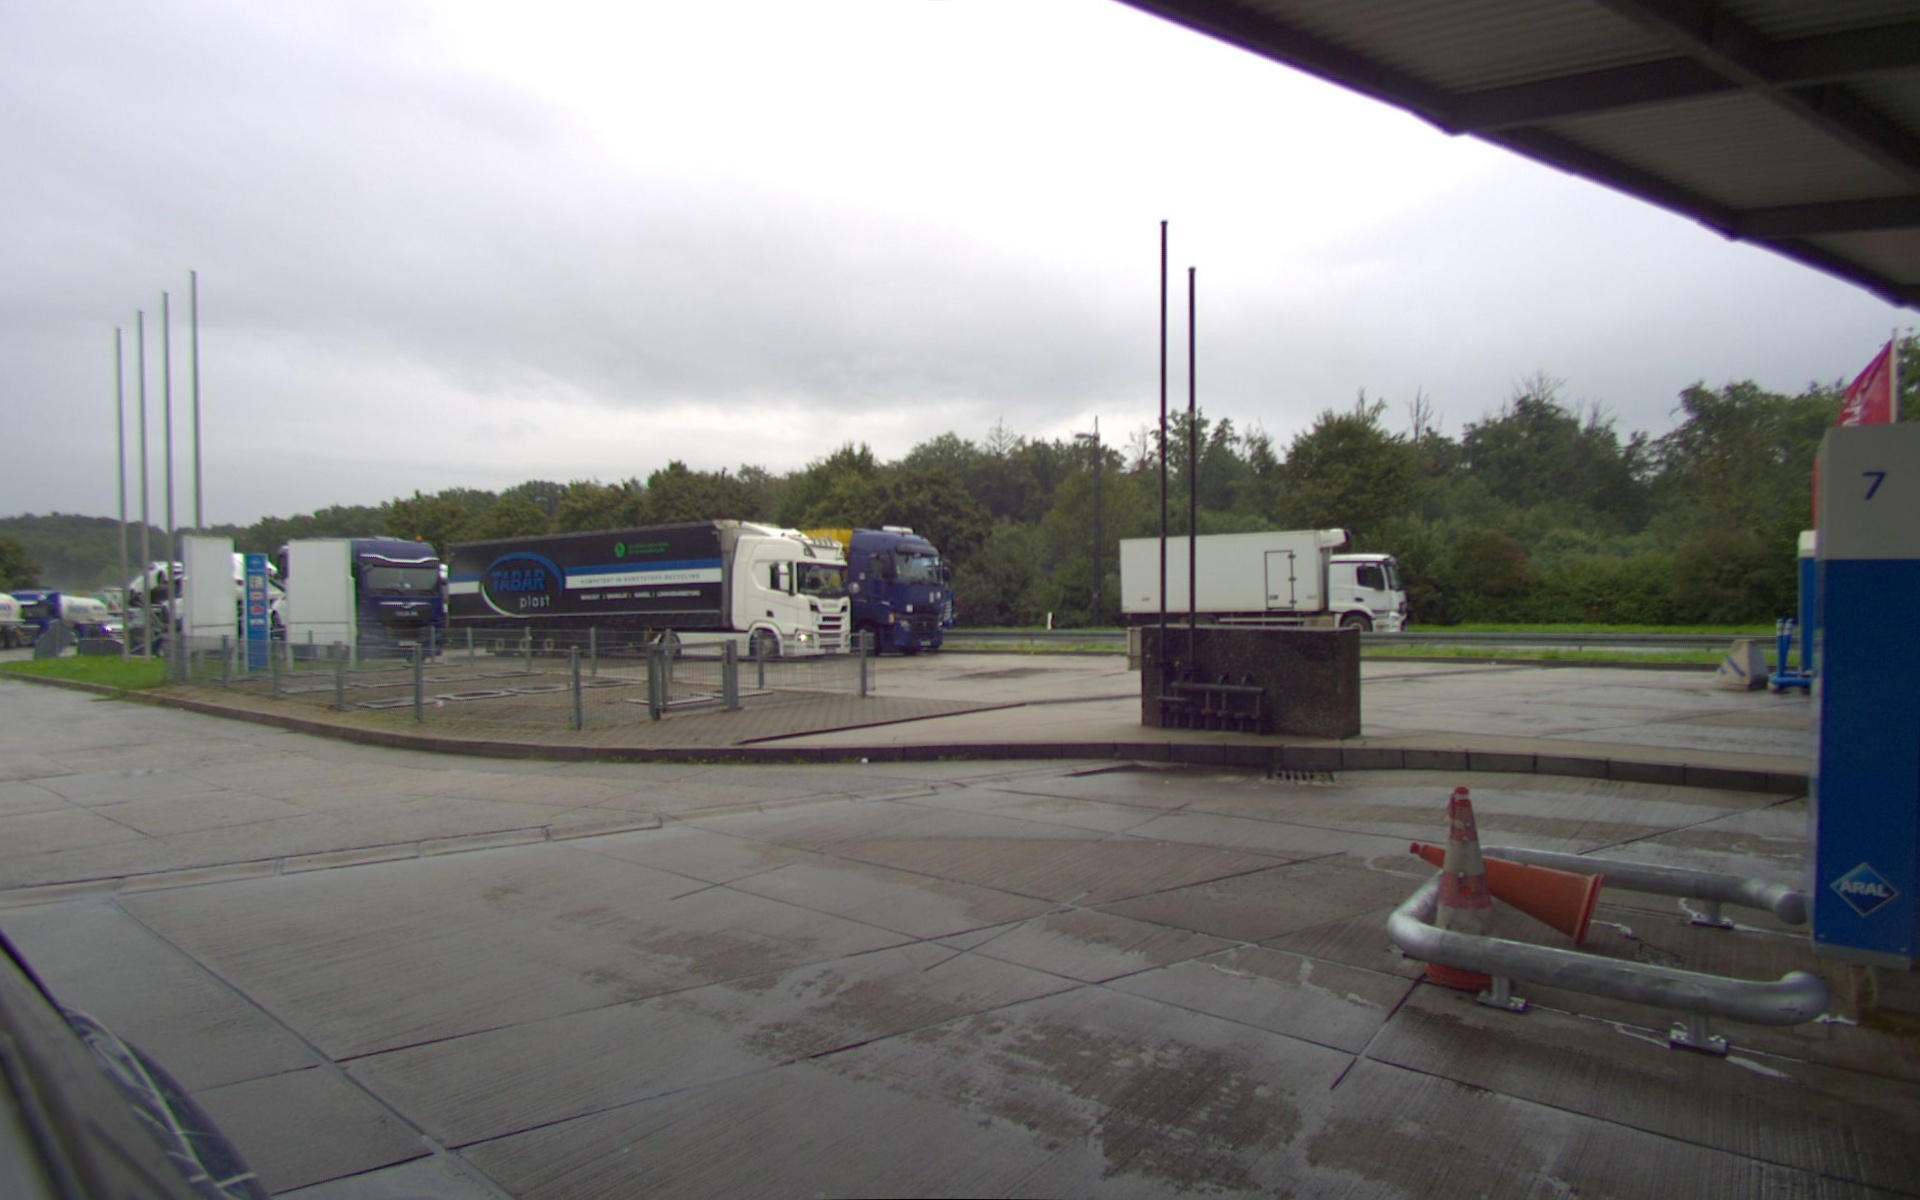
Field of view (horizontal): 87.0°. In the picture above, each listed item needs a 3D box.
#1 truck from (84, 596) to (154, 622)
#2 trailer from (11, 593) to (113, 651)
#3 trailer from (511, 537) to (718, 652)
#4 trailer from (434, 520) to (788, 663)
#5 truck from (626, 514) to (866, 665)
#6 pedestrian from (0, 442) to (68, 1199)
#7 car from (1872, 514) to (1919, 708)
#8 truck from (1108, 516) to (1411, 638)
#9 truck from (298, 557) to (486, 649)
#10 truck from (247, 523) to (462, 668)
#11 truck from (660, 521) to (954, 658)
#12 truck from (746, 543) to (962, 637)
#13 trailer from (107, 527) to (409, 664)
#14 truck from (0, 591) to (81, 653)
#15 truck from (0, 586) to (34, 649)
[{"bbox_3d":[-120.944,1.330,145.465,16.515,3.591,3.215,-1,0,34],"label":"truck"},{"bbox_3d":[-62.268,1.435,70.470,2.854,3.666,10.605,-1,0,-28],"label":"trailer"},{"bbox_3d":[-13.544,-0.163,39.278,8.833,4.063,2.743,-1,0,33],"label":"trailer"},{"bbox_3d":[-11.976,-0.182,33.539,13.757,4.063,2.960,-1,0,31],"label":"trailer"},{"bbox_3d":[-6.437,-0.253,30.244,6.711,4.063,2.963,-1,0,28],"label":"truck"},{"bbox_3d":[-2.284,0.583,1.898,0.839,1.747,0.786,-1,-1,40],"label":"pedestrian"},{"bbox_3d":[14.888,0.116,12.385,5.272,2.482,2.298,-1,-2,37],"label":"car"},{"bbox_3d":[10.980,-0.730,37.744,10.433,4.063,2.961,-1,0,30],"label":"truck"},{"bbox_3d":[-27.300,0.179,48.435,10.433,4.063,2.961,-1,0,30],"label":"truck"},{"bbox_3d":[-18.991,-0.112,31.610,7.244,4.063,2.957,-1,0,34],"label":"truck"},{"bbox_3d":[-5.388,-0.267,33.944,10.608,4.063,2.743,-1,0,33],"label":"truck"},{"bbox_3d":[-5.139,-0.400,47.679,10.433,4.063,2.961,-1,0,30],"label":"truck"},{"bbox_3d":[-25.415,-0.055,35.913,16.563,4.063,2.957,-1,0,34],"label":"trailer"},{"bbox_3d":[-59.423,1.372,64.983,3.000,3.796,6.486,-1,0,-27],"label":"truck"},{"bbox_3d":[-55.556,1.019,55.004,3.196,3.591,12.013,-1,0,-19],"label":"truck"}]
